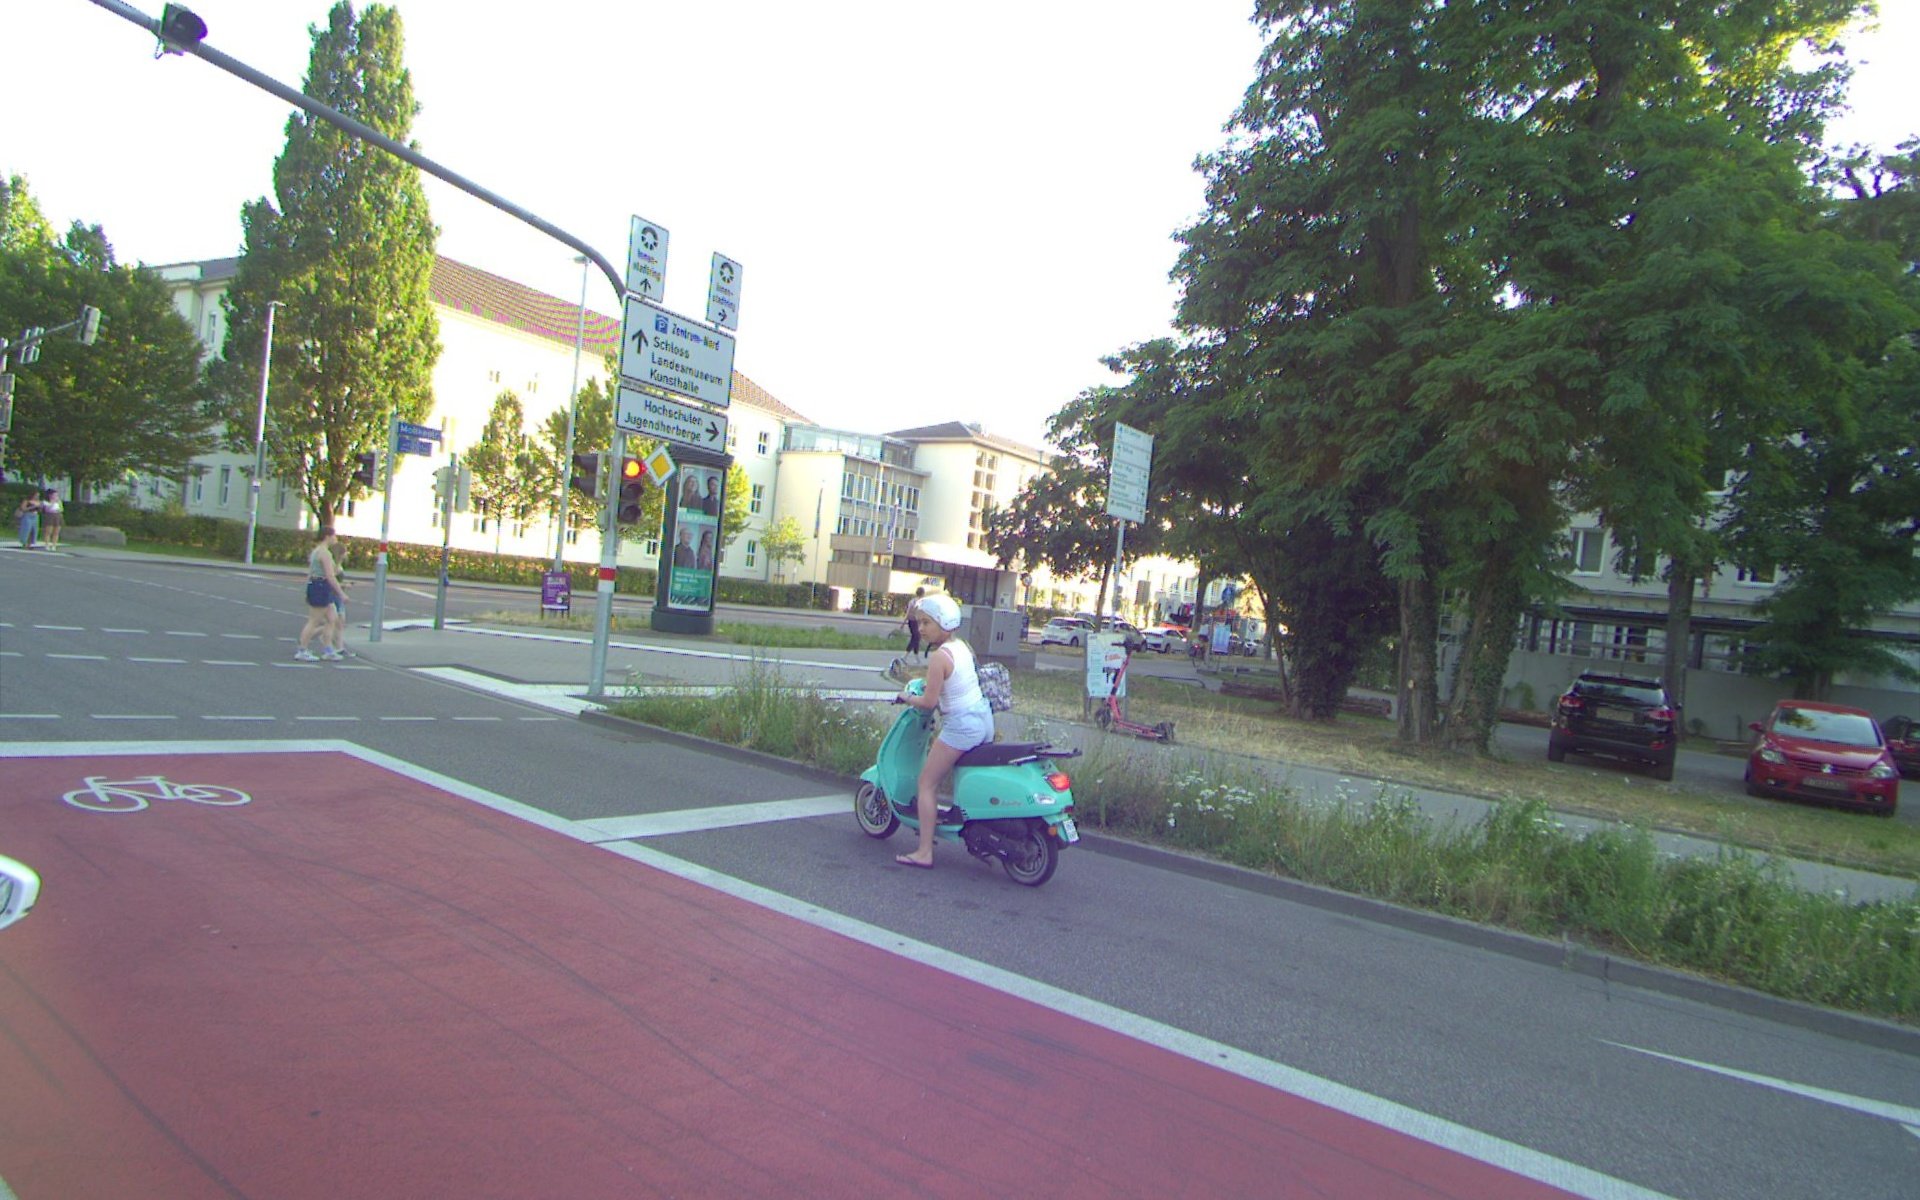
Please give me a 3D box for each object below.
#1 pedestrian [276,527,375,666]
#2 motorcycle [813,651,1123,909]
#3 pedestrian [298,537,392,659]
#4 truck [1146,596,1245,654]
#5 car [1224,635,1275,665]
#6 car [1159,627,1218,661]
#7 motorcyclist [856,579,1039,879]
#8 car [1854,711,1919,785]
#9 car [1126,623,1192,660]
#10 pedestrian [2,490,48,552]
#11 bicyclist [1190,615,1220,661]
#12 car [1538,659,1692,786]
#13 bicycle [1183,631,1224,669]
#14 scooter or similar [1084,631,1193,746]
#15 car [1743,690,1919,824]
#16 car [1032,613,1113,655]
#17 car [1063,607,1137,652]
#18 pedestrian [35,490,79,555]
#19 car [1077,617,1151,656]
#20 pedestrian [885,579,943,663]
[{"bbox_3d":[-8.141,-0.035,12.911,0.711,1.681,0.773,7,2,39],"label":"pedestrian"},{"bbox_3d":[-0.004,1.060,6.453,1.866,1.212,0.681,7,0,40],"label":"motorcycle"},{"bbox_3d":[-8.325,-0.016,13.630,0.726,1.542,0.785,7,1,39],"label":"pedestrian"},{"bbox_3d":[15.926,1.775,67.366,2.599,3.179,10.243,6,0,35],"label":"truck"},{"bbox_3d":[19.657,3.404,68.204,1.969,1.660,3.987,7,0,35],"label":"car"},{"bbox_3d":[13.670,2.646,60.004,1.969,1.660,3.987,7,0,35],"label":"car"},{"bbox_3d":[-0.078,0.805,6.535,0.680,1.758,0.737,7,1,40],"label":"motorcyclist"},{"bbox_3d":[22.996,3.582,24.041,1.742,1.477,3.618,7,0,33],"label":"car"},{"bbox_3d":[10.949,2.310,55.262,1.969,1.660,3.987,7,0,35],"label":"car"},{"bbox_3d":[-26.526,-2.243,28.540,0.831,1.643,0.681,8,2,32],"label":"pedestrian"},{"bbox_3d":[9.000,1.403,36.917,0.563,1.609,0.904,7,1,40],"label":"bicyclist"},{"bbox_3d":[11.769,2.089,17.952,1.890,1.762,4.223,7,0,37],"label":"car"},{"bbox_3d":[8.961,1.854,36.956,0.563,1.256,1.891,7,0,40],"label":"bicycle"},{"bbox_3d":[2.270,1.107,12.815,1.159,1.288,0.440,7,1,31],"label":"scooter or similar"},{"bbox_3d":[14.050,2.419,16.375,1.890,1.631,3.984,7,0,38],"label":"car"},{"bbox_3d":[5.376,1.636,47.700,1.872,1.660,3.983,7,0,38],"label":"car"},{"bbox_3d":[7.735,1.647,55.276,2.024,1.884,4.486,7,-2,35],"label":"car"},{"bbox_3d":[-26.159,-2.241,29.145,0.677,1.776,0.681,8,2,31],"label":"pedestrian"},{"bbox_3d":[7.892,1.894,51.285,1.970,1.632,3.985,7,0,37],"label":"car"},{"bbox_3d":[-1.008,0.466,22.225,0.694,1.761,0.892,7,1,40],"label":"pedestrian"}]
